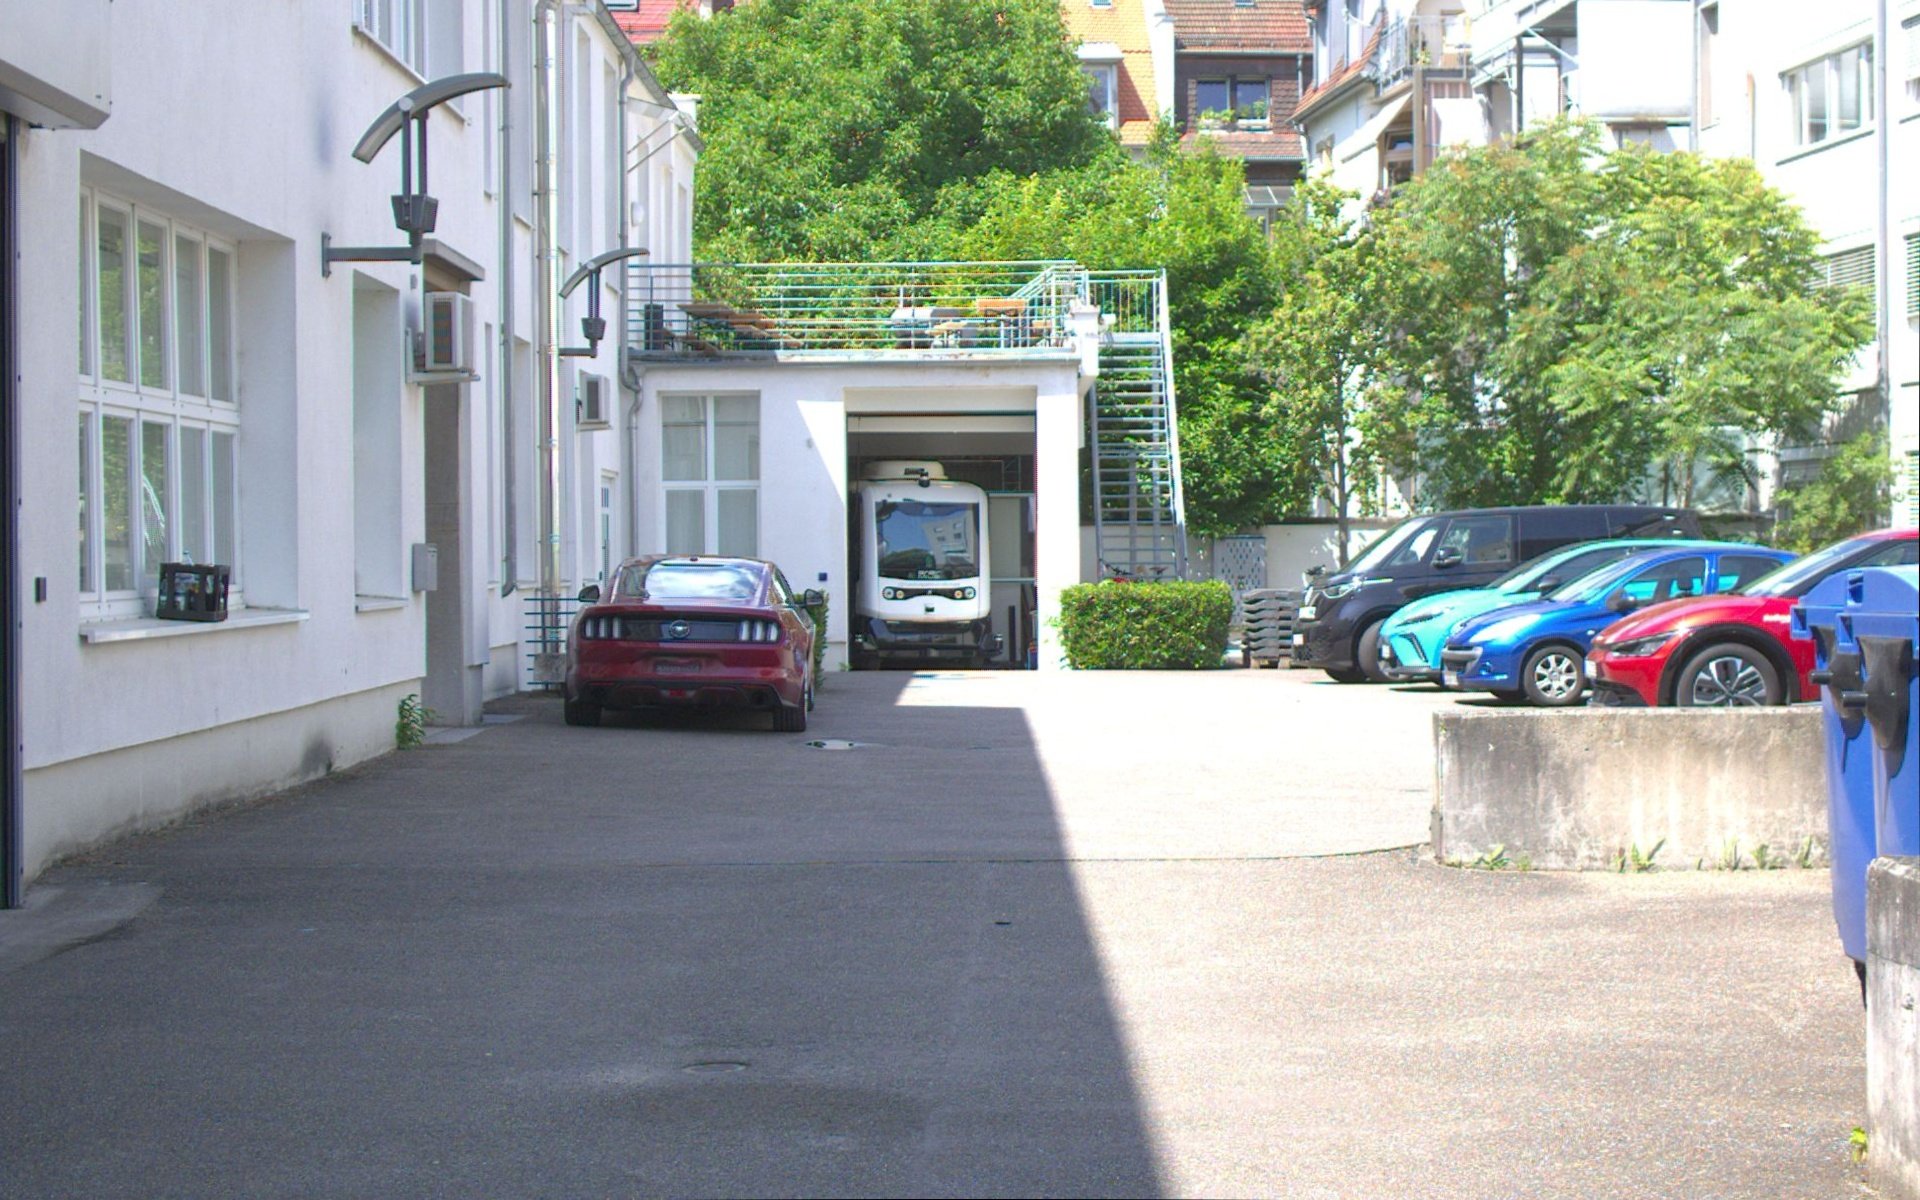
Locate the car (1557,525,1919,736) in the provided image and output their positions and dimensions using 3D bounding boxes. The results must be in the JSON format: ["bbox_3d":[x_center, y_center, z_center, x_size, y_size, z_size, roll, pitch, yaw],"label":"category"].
[{"bbox_3d":[6.581,0.188,25.396,3.987,1.473,1.805,-1,1,-1],"label":"car"}]

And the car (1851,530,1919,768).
[{"bbox_3d":[7.577,0.252,20.596,3.987,1.385,1.805,-1,1,-1],"label":"car"}]

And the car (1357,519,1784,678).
[{"bbox_3d":[6.165,-0.032,35.020,3.987,1.529,1.805,-1,1,-1],"label":"car"}]

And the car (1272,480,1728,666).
[{"bbox_3d":[5.916,-0.315,38.058,4.677,1.951,2.077,-1,1,-1],"label":"car"}]

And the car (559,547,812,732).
[{"bbox_3d":[-2.178,0.270,28.184,1.798,1.385,4.000,0,1,-1],"label":"car"}]

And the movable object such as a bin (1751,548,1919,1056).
[{"bbox_3d":[2.964,0.518,9.632,1.192,1.322,1.160,-1,1,-1],"label":"movable object such as a bin"}]

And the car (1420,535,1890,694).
[{"bbox_3d":[6.420,0.115,32.039,3.987,1.385,1.805,-1,1,-1],"label":"car"}]

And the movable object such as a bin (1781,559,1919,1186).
[{"bbox_3d":[2.673,0.570,7.874,1.339,1.322,1.160,-1,1,3],"label":"movable object such as a bin"}]

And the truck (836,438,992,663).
[{"bbox_3d":[-0.682,-0.689,47.136,1.788,2.927,4.654,0,1,-5],"label":"truck"}]
